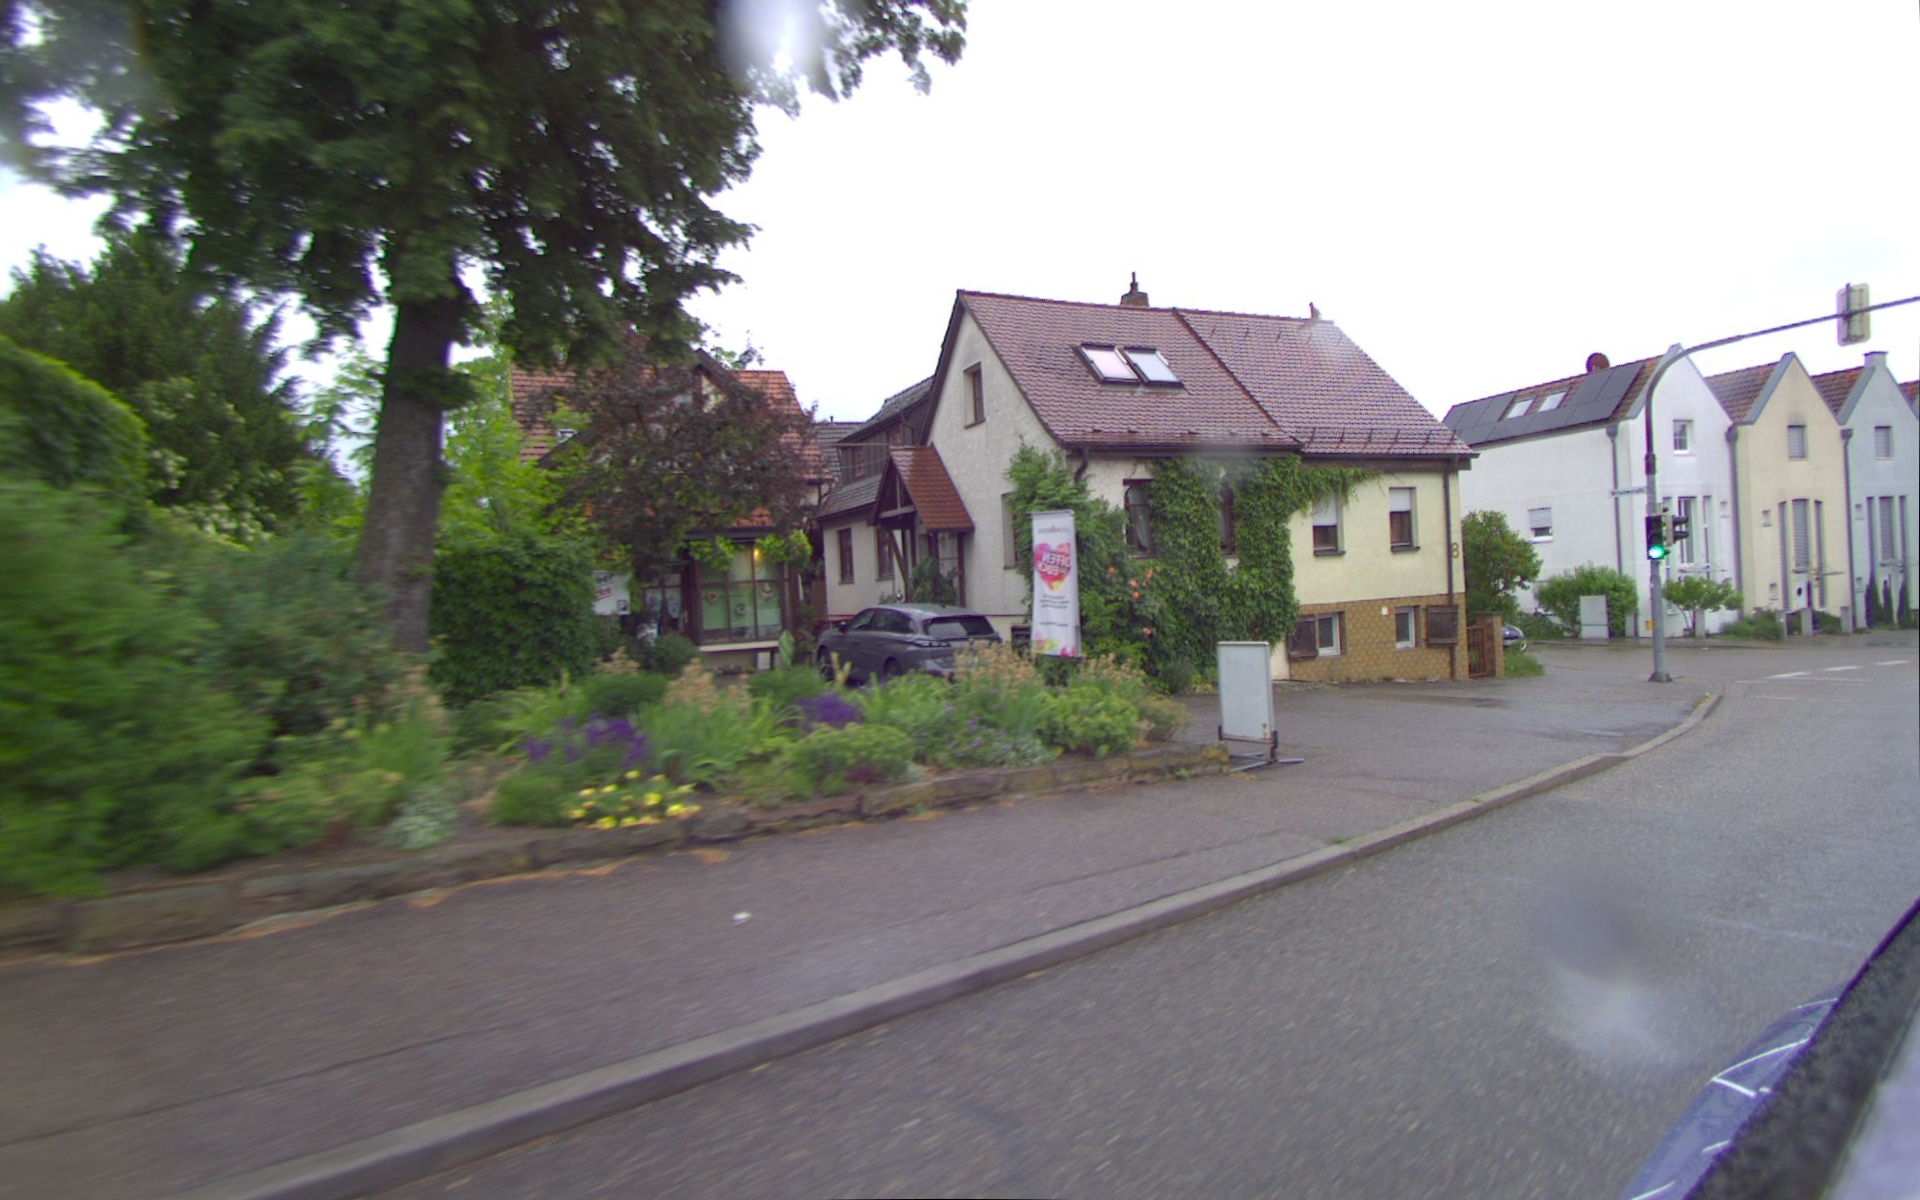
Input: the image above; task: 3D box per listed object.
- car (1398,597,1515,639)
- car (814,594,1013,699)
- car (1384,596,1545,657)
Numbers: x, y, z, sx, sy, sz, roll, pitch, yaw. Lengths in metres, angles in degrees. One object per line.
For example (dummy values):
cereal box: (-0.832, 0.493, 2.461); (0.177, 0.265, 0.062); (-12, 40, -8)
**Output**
car: (18.271, 0.657, 37.430); (1.766, 1.424, 3.742); (-2, 0, -17)
car: (-0.910, 0.672, 16.921); (1.642, 1.478, 4.115); (0, 0, -29)
car: (14.655, 0.725, 29.673); (1.825, 1.605, 4.154); (-2, 0, -17)
